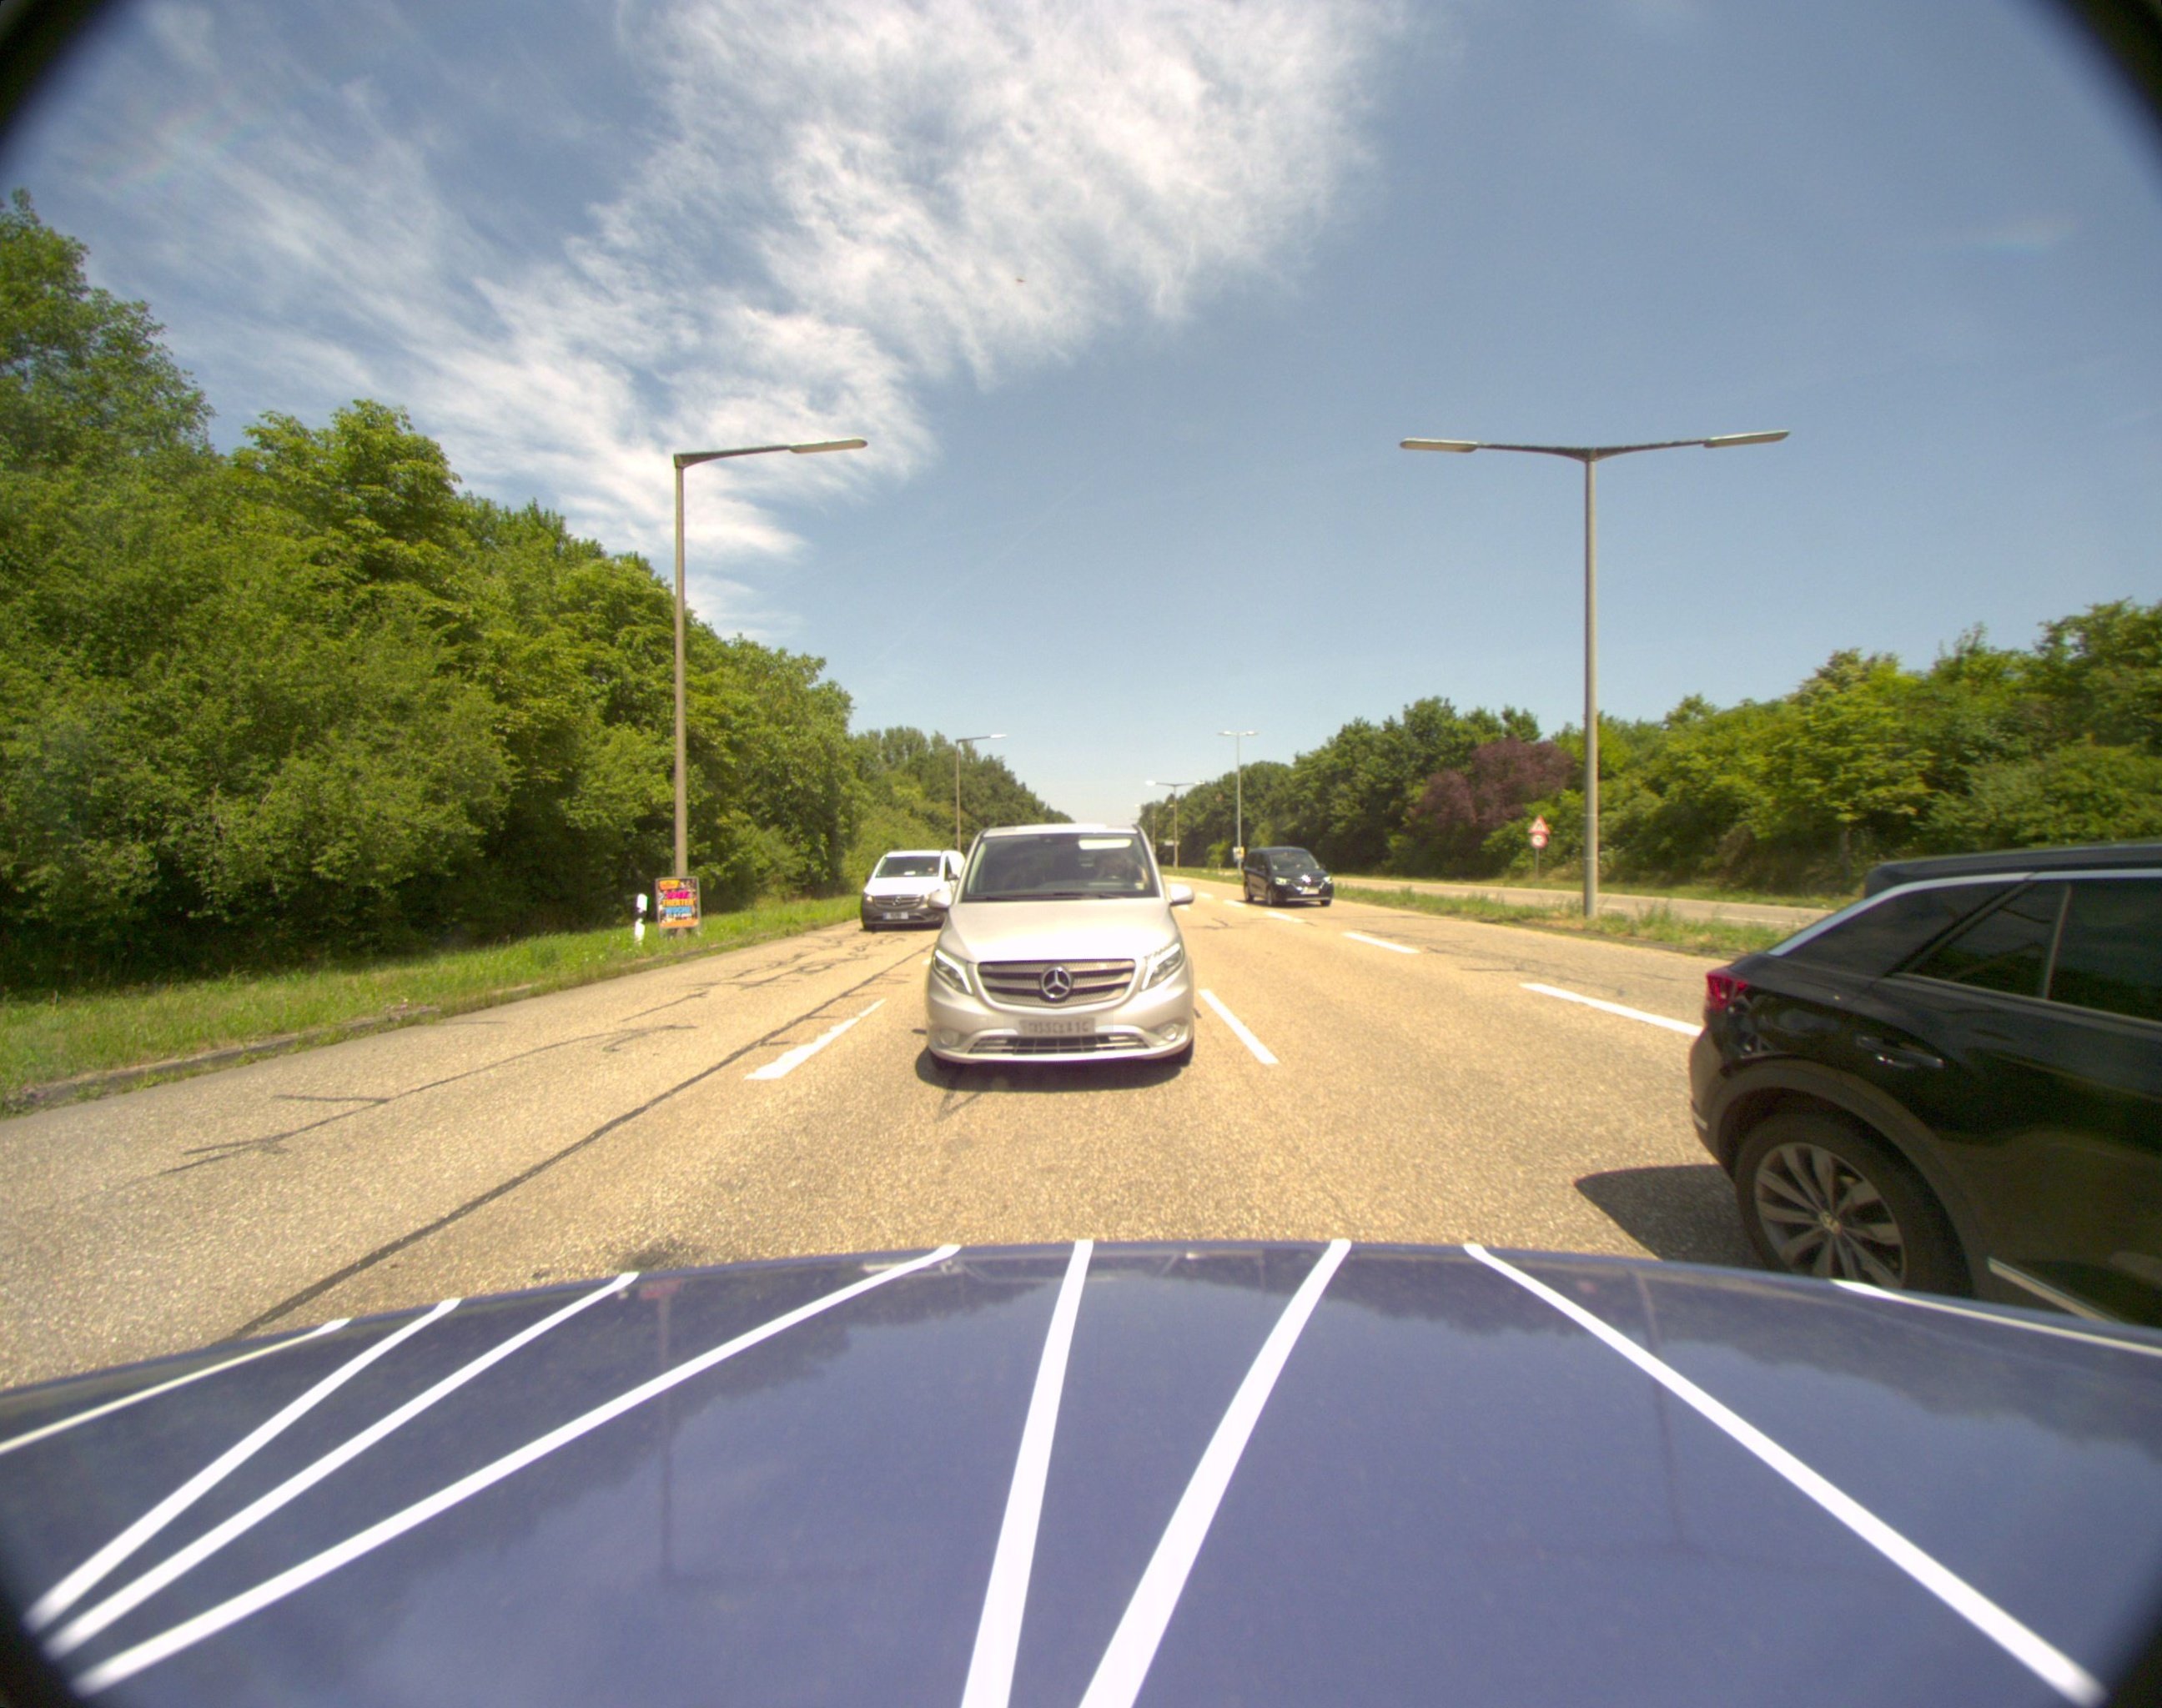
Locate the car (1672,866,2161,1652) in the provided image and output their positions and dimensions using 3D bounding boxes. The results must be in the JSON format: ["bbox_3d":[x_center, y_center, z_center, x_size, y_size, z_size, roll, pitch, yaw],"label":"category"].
[{"bbox_3d":[3.031,0.851,0.801,1.739,1.503,3.970,-2,1,1],"label":"car"}]

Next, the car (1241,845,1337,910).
[{"bbox_3d":[6.382,0.681,23.823,1.736,1.815,4.321,-1,0,-1],"label":"car"}]

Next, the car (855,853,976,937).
[{"bbox_3d":[-3.965,0.897,19.082,1.865,1.807,4.908,-1,0,1],"label":"car"}]

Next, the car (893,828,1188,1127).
[{"bbox_3d":[-0.220,0.766,7.137,1.764,1.794,4.855,-2,0,1],"label":"car"}]
